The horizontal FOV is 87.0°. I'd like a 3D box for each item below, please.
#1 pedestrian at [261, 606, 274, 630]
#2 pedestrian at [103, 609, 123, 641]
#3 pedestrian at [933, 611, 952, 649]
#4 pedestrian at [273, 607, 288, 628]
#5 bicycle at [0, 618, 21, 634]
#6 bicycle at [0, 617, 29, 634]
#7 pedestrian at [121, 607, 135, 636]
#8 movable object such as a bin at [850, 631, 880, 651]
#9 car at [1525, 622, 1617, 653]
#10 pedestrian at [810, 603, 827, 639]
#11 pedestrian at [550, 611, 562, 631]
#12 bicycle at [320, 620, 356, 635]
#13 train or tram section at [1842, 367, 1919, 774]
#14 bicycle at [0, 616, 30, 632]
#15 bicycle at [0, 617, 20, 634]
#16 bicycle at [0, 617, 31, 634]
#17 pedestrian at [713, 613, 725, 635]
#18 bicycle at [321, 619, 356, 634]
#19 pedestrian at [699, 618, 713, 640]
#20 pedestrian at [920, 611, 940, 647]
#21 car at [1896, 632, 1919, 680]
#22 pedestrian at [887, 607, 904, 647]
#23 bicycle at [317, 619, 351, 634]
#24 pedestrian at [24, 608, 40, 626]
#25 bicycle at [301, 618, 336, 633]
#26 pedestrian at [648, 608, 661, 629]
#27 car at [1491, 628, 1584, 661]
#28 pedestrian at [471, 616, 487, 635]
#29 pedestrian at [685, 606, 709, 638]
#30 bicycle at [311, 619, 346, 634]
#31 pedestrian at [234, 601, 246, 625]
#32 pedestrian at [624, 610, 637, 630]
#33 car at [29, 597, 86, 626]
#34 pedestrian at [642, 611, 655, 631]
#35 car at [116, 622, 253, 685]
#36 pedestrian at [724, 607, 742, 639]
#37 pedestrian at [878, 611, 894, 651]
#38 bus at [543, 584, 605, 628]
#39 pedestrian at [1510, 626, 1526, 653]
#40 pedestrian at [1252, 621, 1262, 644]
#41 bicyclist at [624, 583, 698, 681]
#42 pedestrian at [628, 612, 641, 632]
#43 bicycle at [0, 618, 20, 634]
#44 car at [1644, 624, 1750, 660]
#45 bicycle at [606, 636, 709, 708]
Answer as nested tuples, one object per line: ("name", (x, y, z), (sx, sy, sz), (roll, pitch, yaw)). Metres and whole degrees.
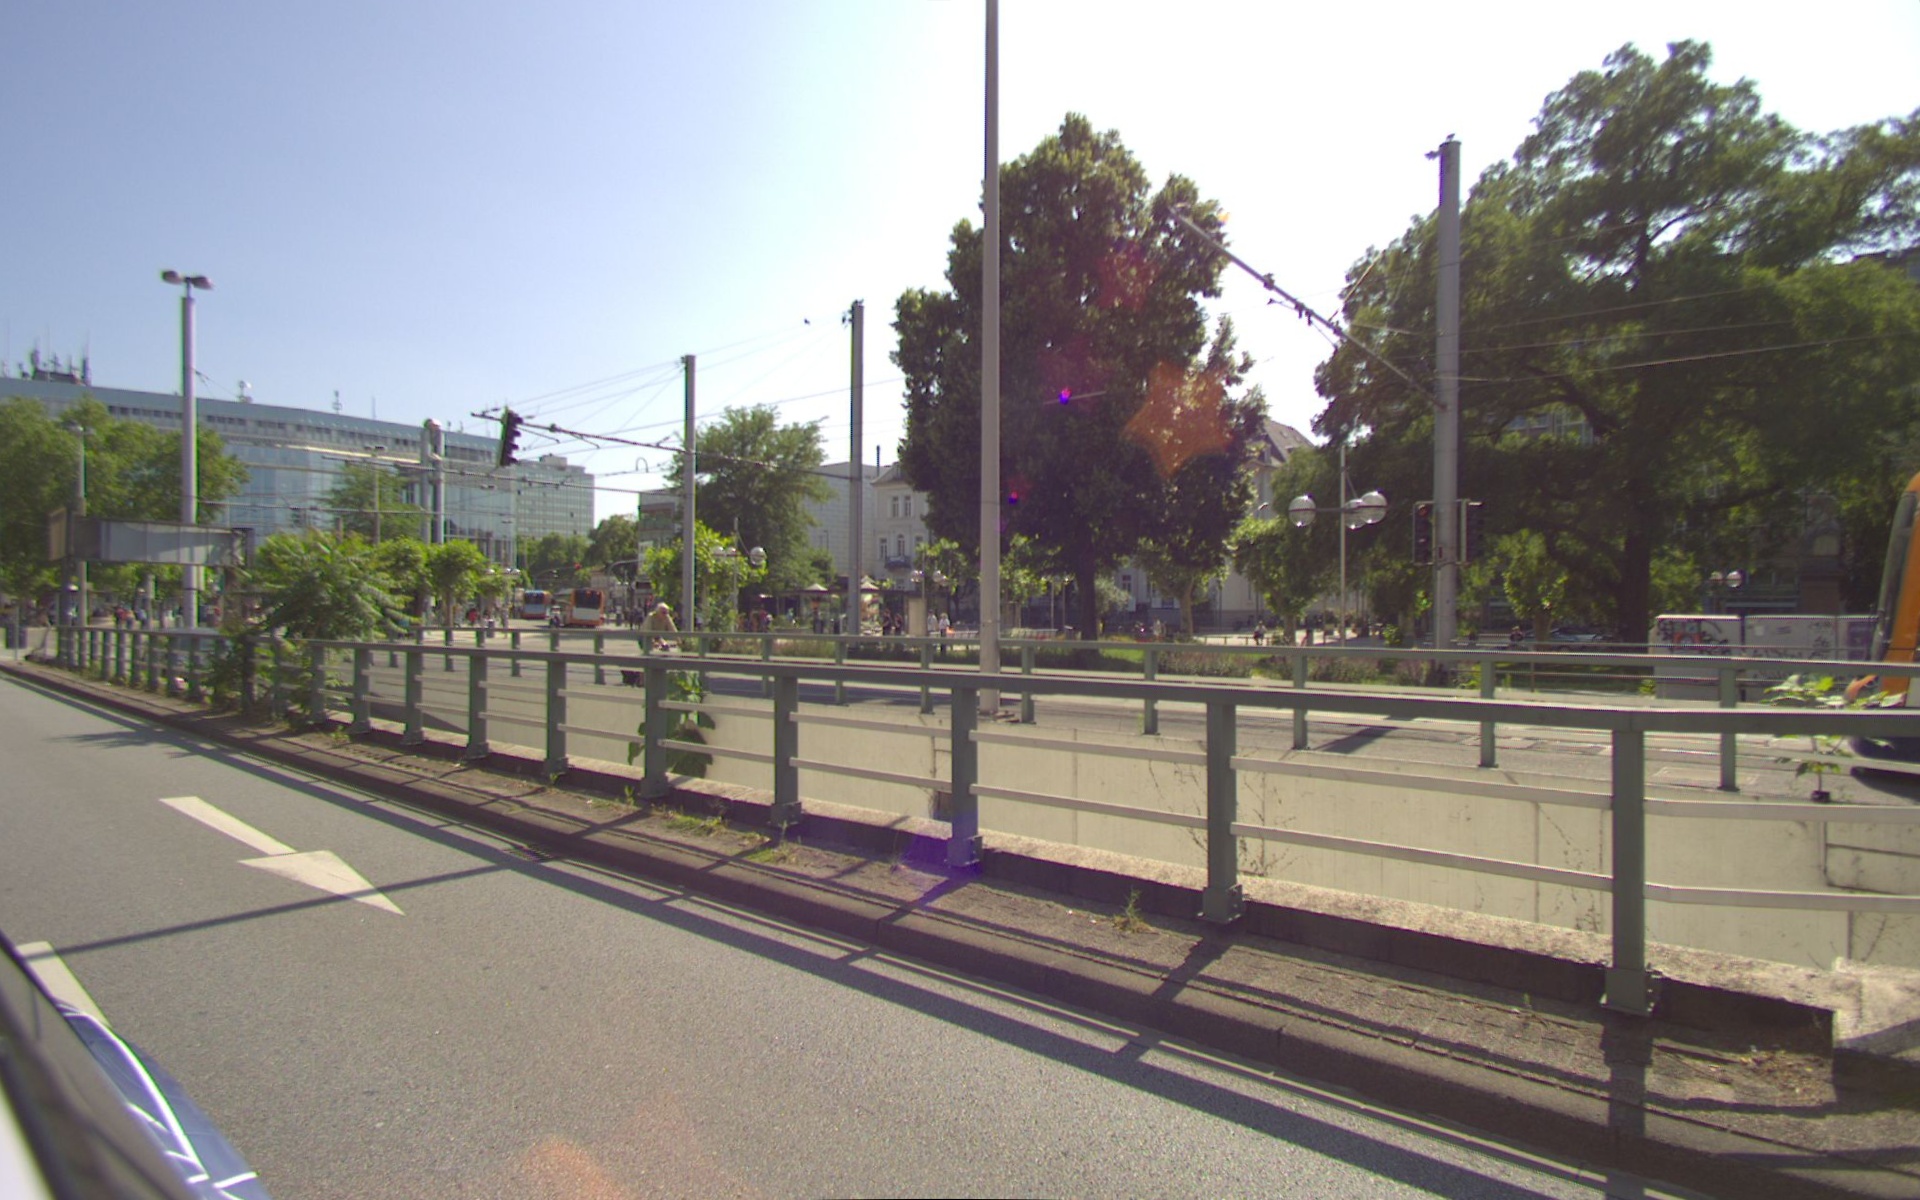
("pedestrian", (-48.886, 1.288, 71.462), (0.518, 1.678, 0.469), (0, -3, 19))
("pedestrian", (-47.018, 1.375, 56.191), (0.581, 1.747, 0.524), (0, -3, 11))
("pedestrian", (-0.757, 1.305, 44.298), (0.619, 1.621, 0.488), (-1, -4, 34))
("pedestrian", (-48.084, 1.216, 71.661), (0.549, 1.477, 0.621), (0, -3, 19))
("bicycle", (-69.034, 1.858, 73.083), (0.482, 1.156, 1.735), (-1, -1, 39))
("bicycle", (-67.186, 1.790, 71.605), (0.482, 1.156, 1.842), (-1, -1, 39))
("pedestrian", (-46.592, 1.226, 56.686), (0.518, 1.621, 0.627), (4, -4, -39))
("movable object such as a bin", (-3.904, 1.680, 41.481), (0.800, 0.760, 0.897), (-2, -4, 41))
("car", (31.988, 1.934, 53.006), (3.991, 1.519, 1.740), (0, 1, 36))
("pedestrian", (-8.136, 1.219, 58.058), (0.621, 2.023, 0.736), (4, -4, -43))
("pedestrian", (-31.377, 1.624, 78.570), (0.585, 1.477, 0.522), (0, -3, 22))
("bicycle", (-38.241, 1.674, 62.217), (0.579, 0.876, 1.853), (-1, 1, 28))
("train or tram section", (11.268, -0.298, 8.243), (6.100, 3.608, 2.586), (0, 1, 41))
("bicycle", (-66.480, 1.683, 71.034), (0.482, 1.156, 1.735), (-1, -1, 39))
("bicycle", (-69.858, 1.861, 73.871), (0.482, 1.156, 1.735), (-1, -1, 39))
("bicycle", (-66.114, 1.799, 70.724), (0.482, 1.156, 1.735), (-1, -1, 39))
("pedestrian", (-13.784, 1.376, 57.828), (0.479, 1.273, 0.400), (0, -3, 23))
("bicycle", (-39.313, 1.668, 64.018), (0.579, 0.876, 1.853), (-1, 1, 28))
("pedestrian", (-15.216, 1.754, 60.607), (0.613, 1.273, 0.583), (4, -4, -40))
("pedestrian", (-1.296, 1.247, 43.355), (0.661, 1.504, 0.519), (-1, -4, 39))
("car", (43.592, 2.486, 44.359), (3.642, 2.029, 1.973), (0, 1, 41))
("pedestrian", (-2.627, 1.117, 41.325), (0.494, 1.621, 0.409), (-2, -4, 39))
("bicycle", (-39.813, 1.666, 64.380), (0.544, 0.862, 1.853), (-1, 1, 28))
("pedestrian", (-74.550, 1.346, 81.265), (0.780, 1.418, 0.744), (-1, 1, 31))
("bicycle", (-41.340, 1.662, 65.247), (0.580, 0.878, 1.853), (-1, 1, 28))
("pedestrian", (-22.549, 1.373, 74.653), (0.616, 1.477, 0.681), (4, -4, -44))
("car", (29.520, 2.225, 51.732), (3.991, 1.519, 1.740), (0, 1, 36))
("pedestrian", (-27.037, 1.437, 56.920), (0.580, 1.008, 0.627), (-2, -4, 44))
("pedestrian", (-15.465, 1.293, 59.470), (0.953, 1.807, 1.082), (4, -4, -40))
("bicycle", (-40.330, 1.677, 64.654), (0.544, 0.862, 1.853), (-1, 1, 28))
("pedestrian", (-55.380, 1.028, 77.858), (0.605, 1.830, 0.570), (-2, -4, 41))
("pedestrian", (-25.099, 1.536, 76.989), (0.679, 1.477, 0.617), (-1, -4, 38))
("car", (-67.882, 0.835, 76.184), (1.965, 2.029, 5.083), (-1, 1, -28))
("pedestrian", (-23.393, 1.604, 75.990), (0.679, 1.477, 0.617), (-1, -4, 36))
("car", (-19.412, 1.314, 25.281), (3.994, 1.415, 1.679), (-1, -5, 38))
("pedestrian", (-12.412, 1.238, 55.364), (0.705, 1.719, 0.669), (-1, -3, 40))
("pedestrian", (-3.047, 1.288, 41.770), (0.465, 1.621, 0.447), (-1, -4, 39))
("bus", (-33.248, 0.424, 86.717), (3.014, 3.445, 12.499), (-1, 1, -30))
("pedestrian", (26.922, 1.914, 48.830), (0.657, 1.273, 0.745), (-1, -4, 29))
("pedestrian", (16.425, 1.812, 56.006), (0.525, 1.273, 0.574), (0, -3, 20))
("bicyclist", (-5.191, 0.570, 17.563), (0.902, 1.634, 0.809), (-2, -5, 41))
("pedestrian", (-24.507, 1.680, 76.199), (0.679, 1.477, 0.617), (-1, -4, 36))
("bicycle", (-68.527, 1.851, 72.493), (0.482, 1.156, 1.735), (-1, -1, 39))
("car", (34.824, 1.957, 47.924), (3.991, 1.519, 1.740), (0, 1, 36))
("bicycle", (-5.247, 1.225, 17.524), (1.873, 1.129, 0.809), (0, -3, 42))
